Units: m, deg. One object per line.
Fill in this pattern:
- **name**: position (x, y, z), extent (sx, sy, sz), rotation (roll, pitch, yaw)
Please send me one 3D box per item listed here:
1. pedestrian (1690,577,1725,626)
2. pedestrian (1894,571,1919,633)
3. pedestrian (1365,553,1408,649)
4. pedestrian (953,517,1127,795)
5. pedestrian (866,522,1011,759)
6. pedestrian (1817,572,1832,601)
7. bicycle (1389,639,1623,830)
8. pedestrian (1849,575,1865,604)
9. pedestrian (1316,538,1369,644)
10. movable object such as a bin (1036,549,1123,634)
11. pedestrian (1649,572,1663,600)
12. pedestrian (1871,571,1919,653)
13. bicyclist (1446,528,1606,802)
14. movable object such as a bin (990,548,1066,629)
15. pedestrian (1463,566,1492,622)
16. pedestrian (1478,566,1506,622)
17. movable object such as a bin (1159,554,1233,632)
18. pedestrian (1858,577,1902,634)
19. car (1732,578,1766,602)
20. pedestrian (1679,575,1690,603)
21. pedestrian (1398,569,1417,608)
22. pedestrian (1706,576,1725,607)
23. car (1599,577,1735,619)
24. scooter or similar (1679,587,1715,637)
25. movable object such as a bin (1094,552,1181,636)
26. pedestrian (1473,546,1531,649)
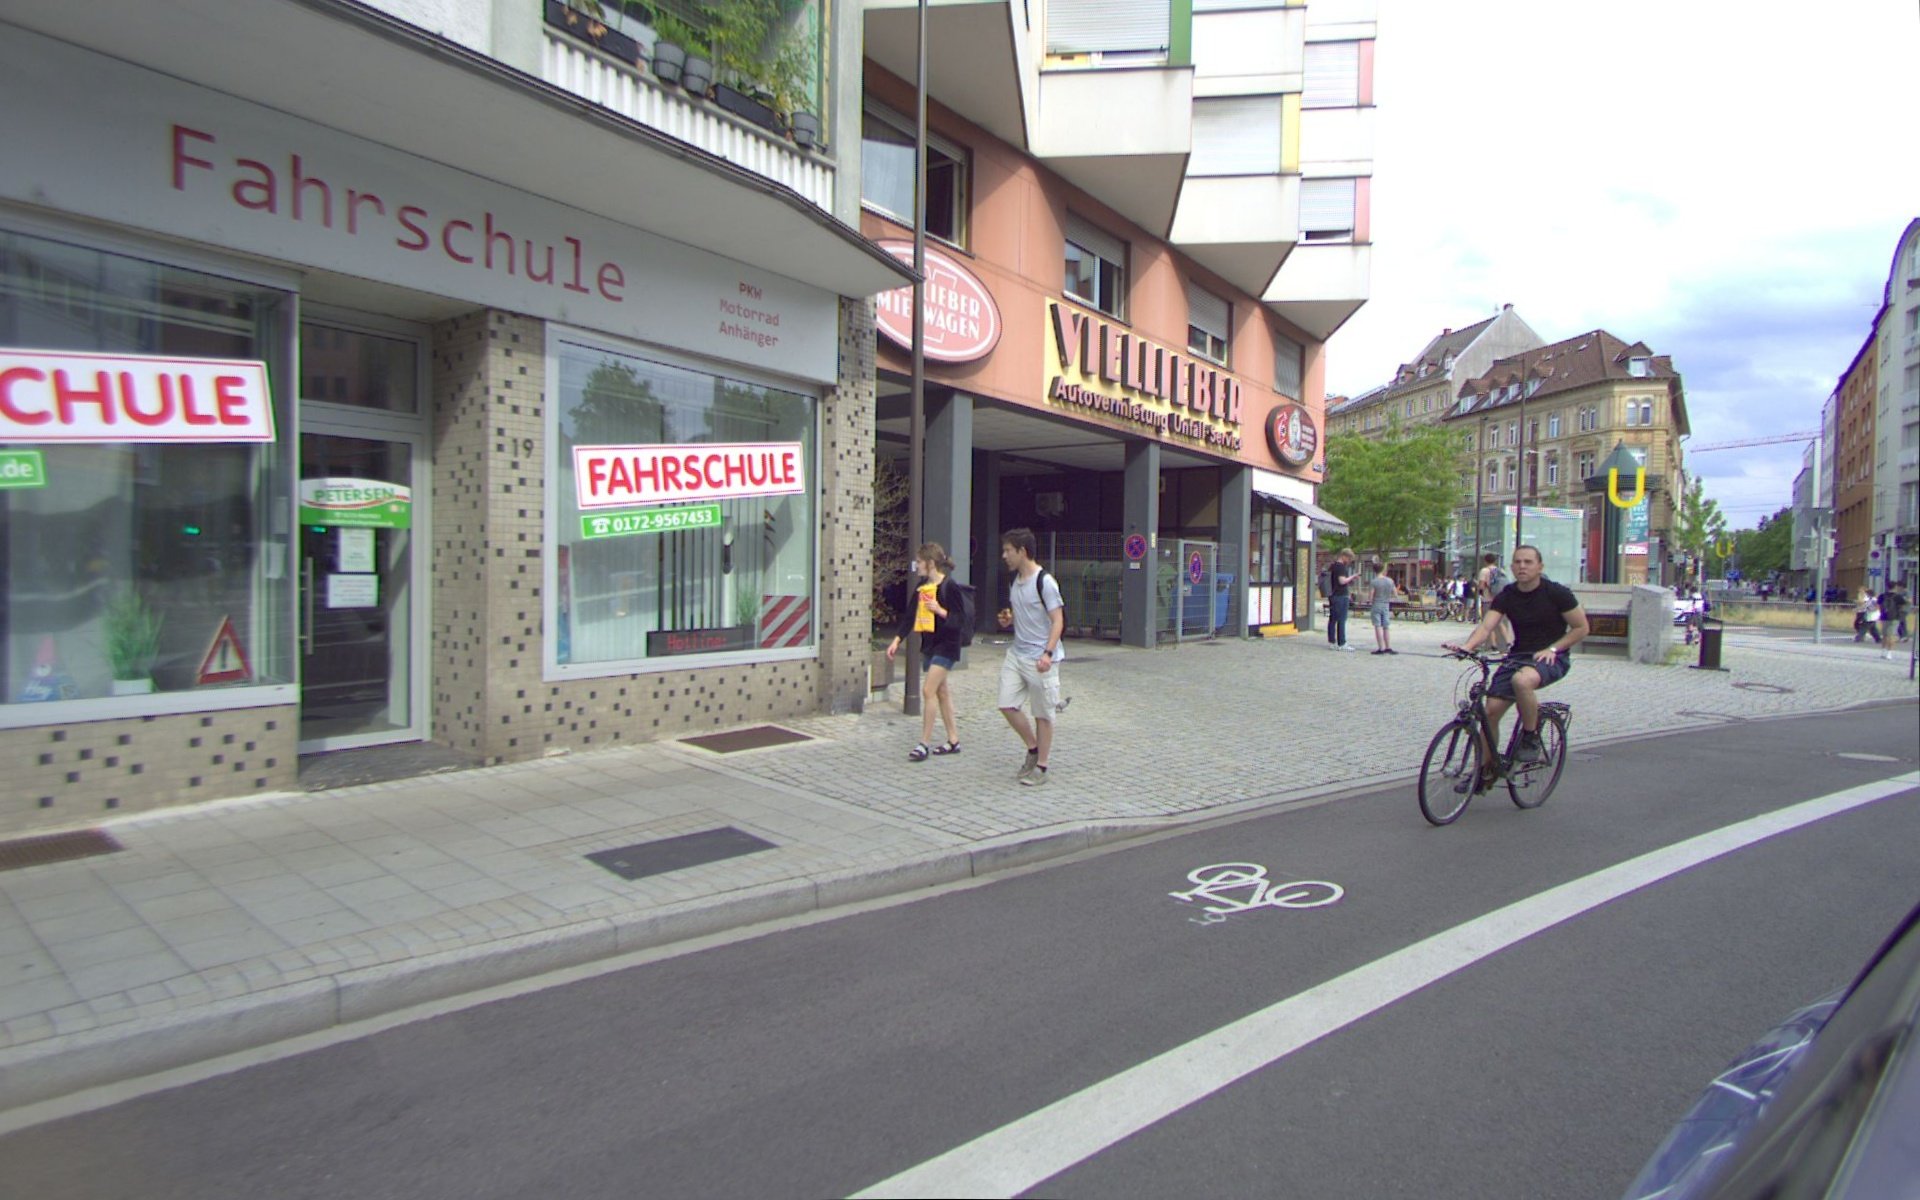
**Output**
- **pedestrian**: position (23.799, 0.034, 32.226), extent (0.830, 1.519, 0.554), rotation (-1, 2, -23)
- **pedestrian**: position (29.278, 0.060, 30.909), extent (0.859, 1.877, 0.642), rotation (1, 1, -7)
- **pedestrian**: position (7.767, 0.014, 18.415), extent (0.472, 1.693, 0.582), rotation (5, 4, 39)
- **pedestrian**: position (0.559, 0.342, 7.089), extent (0.752, 1.770, 0.845), rotation (7, 5, 44)
- **pedestrian**: position (-0.156, 0.271, 7.854), extent (0.603, 1.688, 0.932), rotation (6, 4, 36)
- **pedestrian**: position (52.774, -0.809, 61.753), extent (0.587, 1.744, 0.514), rotation (2, 2, 33)
- **bicycle**: position (3.740, 0.851, 6.865), extent (1.976, 1.136, 0.407), rotation (1, 0, -30)
- **pedestrian**: position (53.942, -0.656, 60.881), extent (0.536, 1.744, 0.515), rotation (1, 1, 26)
- **pedestrian**: position (7.212, -0.180, 19.085), extent (0.671, 1.926, 0.582), rotation (5, 4, 39)
- **movable object such as a bin**: position (2.285, -0.180, 19.307), extent (1.191, 1.534, 1.181), rotation (2, 2, 37)
- **pedestrian**: position (43.368, -0.860, 63.046), extent (0.505, 1.705, 0.425), rotation (1, 1, -6)
- **pedestrian**: position (21.796, 0.257, 23.533), extent (0.672, 1.821, 0.875), rotation (5, 3, 35)
- **bicyclist**: position (3.824, 0.403, 6.845), extent (0.845, 1.730, 0.561), rotation (0, 1, -31)
- **movable object such as a bin**: position (1.340, -0.237, 19.917), extent (1.000, 1.534, 1.152), rotation (2, 2, 37)
- **pedestrian**: position (17.881, -0.209, 34.991), extent (0.572, 1.890, 0.550), rotation (2, 1, -12)
- **pedestrian**: position (18.486, -0.211, 35.179), extent (0.572, 1.890, 0.491), rotation (2, 1, -12)
- **movable object such as a bin**: position (4.843, -0.160, 20.760), extent (1.140, 1.534, 1.074), rotation (2, 2, 37)
- **pedestrian**: position (28.115, 0.168, 30.940), extent (0.692, 1.716, 0.636), rotation (1, 1, -7)
- **car**: position (55.994, -0.720, 71.848), extent (1.686, 1.606, 3.613), rotation (2, 2, 36)
- **pedestrian**: position (45.138, -0.680, 63.094), extent (0.420, 1.705, 0.510), rotation (2, 1, 26)
- **pedestrian**: position (19.508, -0.516, 44.120), extent (0.431, 1.661, 0.679), rotation (1, 1, -8)
- **pedestrian**: position (43.584, -0.493, 58.408), extent (0.597, 1.706, 0.730), rotation (-2, 0, 16)
- **car**: position (28.668, -0.125, 41.237), extent (1.959, 1.530, 4.611), rotation (0, 2, -7)
- **scooter or similar**: position (18.379, 0.297, 25.246), extent (1.103, 1.227, 0.287), rotation (0, 2, -31)
- **movable object such as a bin**: position (3.266, -0.132, 18.575), extent (1.142, 1.478, 1.208), rotation (2, 2, 37)
- **pedestrian**: position (10.282, -0.064, 19.186), extent (0.656, 1.874, 0.957), rotation (6, 5, 41)
